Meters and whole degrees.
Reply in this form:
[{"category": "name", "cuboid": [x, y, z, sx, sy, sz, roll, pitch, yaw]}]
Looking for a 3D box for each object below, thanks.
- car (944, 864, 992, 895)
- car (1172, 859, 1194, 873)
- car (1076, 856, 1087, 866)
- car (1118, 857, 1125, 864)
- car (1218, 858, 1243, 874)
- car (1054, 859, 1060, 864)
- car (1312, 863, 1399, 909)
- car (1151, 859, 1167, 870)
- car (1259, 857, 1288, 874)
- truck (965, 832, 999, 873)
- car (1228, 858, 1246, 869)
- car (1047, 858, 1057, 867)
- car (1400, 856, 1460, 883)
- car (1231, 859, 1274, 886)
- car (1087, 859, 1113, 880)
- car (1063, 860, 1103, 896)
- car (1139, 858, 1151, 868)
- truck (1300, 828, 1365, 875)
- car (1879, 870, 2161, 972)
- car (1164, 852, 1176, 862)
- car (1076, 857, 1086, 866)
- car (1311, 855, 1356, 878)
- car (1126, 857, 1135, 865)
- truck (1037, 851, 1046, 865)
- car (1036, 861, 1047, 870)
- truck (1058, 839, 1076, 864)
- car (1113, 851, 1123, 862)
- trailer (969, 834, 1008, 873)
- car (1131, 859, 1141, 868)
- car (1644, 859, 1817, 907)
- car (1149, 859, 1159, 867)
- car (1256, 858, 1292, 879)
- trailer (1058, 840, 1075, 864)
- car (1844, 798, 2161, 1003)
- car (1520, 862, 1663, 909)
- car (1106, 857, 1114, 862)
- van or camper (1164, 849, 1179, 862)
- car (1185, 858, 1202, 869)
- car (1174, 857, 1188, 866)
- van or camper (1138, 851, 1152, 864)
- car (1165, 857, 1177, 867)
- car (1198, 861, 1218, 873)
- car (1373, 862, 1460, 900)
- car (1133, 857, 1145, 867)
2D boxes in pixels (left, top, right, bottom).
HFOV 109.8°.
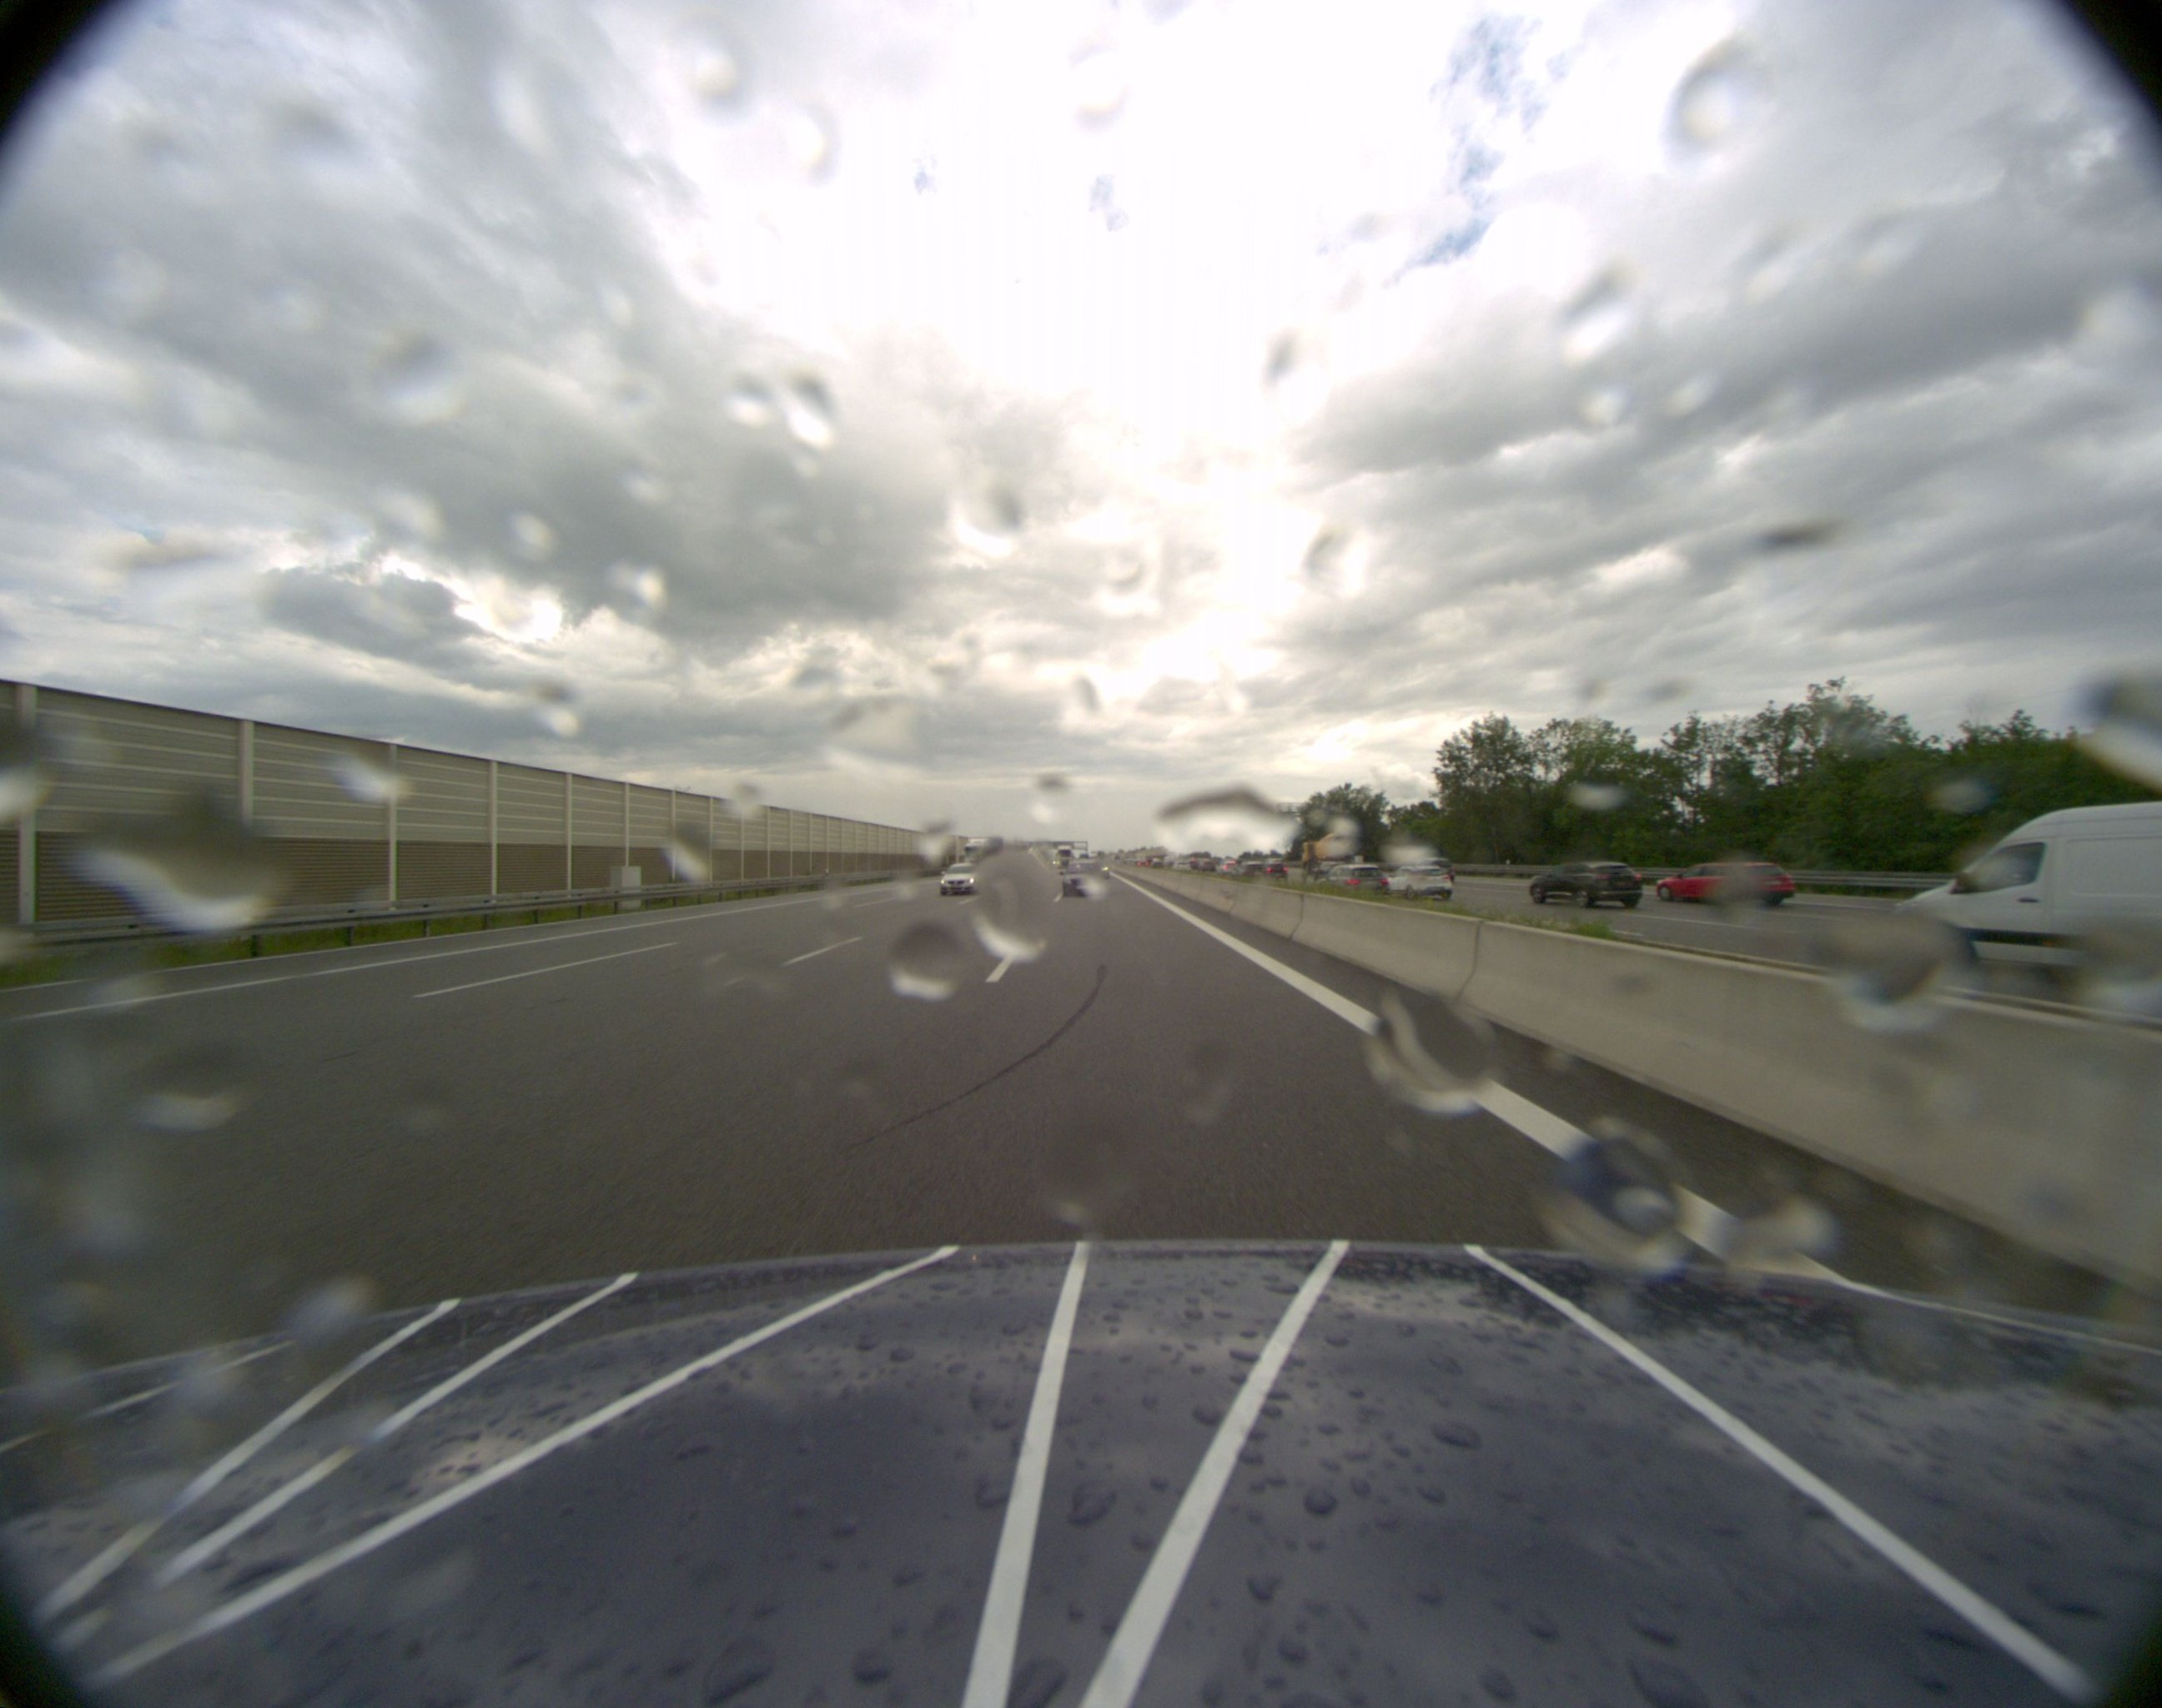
[{"category": "car", "cuboid": [-5.377, 1.186, 36.647, 1.732, 1.394, 4.000, -1, -1, -1]}, {"category": "car", "cuboid": [11.225, 1.326, 83.546, 1.727, 1.420, 4.649, -2, 0, 0]}, {"category": "car", "cuboid": [0.075, 1.074, 116.795, 1.498, 1.394, 3.999, -1, -1, -2]}, {"category": "car", "cuboid": [10.771, 1.783, 201.712, 1.727, 1.636, 4.519, -2, 0, 1]}, {"category": "car", "cuboid": [15.709, 1.249, 80.137, 1.727, 1.461, 4.849, -2, 0, 1]}, {"category": "car", "cuboid": [-6.852, 2.222, 219.506, 1.698, 1.394, 4.000, -1, -1, -1]}, {"category": "car", "cuboid": [11.134, 1.229, 31.185, 1.727, 1.593, 4.913, -2, 0, 0]}, {"category": "car", "cuboid": [11.353, 1.467, 111.104, 1.727, 1.420, 5.230, -2, 0, 1]}, {"category": "car", "cuboid": [19.323, 1.104, 76.443, 1.727, 1.593, 4.519, -2, 0, 1]}, {"category": "truck", "cuboid": [-10.290, -0.110, 79.728, 2.752, 4.010, 5.726, -1, -1, -1]}, {"category": "car", "cuboid": [23.338, 1.399, 114.053, 1.727, 1.420, 4.519, -2, 0, 1]}, {"category": "car", "cuboid": [-6.713, 2.026, 176.735, 1.998, 2.001, 4.001, -2, -1, 1]}, {"category": "car", "cuboid": [23.021, 0.999, 50.312, 1.727, 1.593, 4.913, -2, 0, 1]}, {"category": "car", "cuboid": [11.221, 1.199, 50.126, 1.727, 1.593, 4.913, -2, 0, 1]}, {"category": "car", "cuboid": [1.358, 1.119, 56.414, 1.776, 1.451, 4.480, -1, -1, 0]}, {"category": "car", "cuboid": [0.119, 0.986, 32.471, 1.578, 1.394, 4.001, -1, -1, 2]}, {"category": "car", "cuboid": [11.217, 1.549, 133.147, 1.727, 1.636, 4.993, -2, 0, 1]}, {"category": "truck", "cuboid": [23.261, -0.192, 70.928, 2.922, 3.991, 9.583, -1, 0, 0]}, {"category": "car", "cuboid": [18.161, 1.111, 13.895, 1.987, 1.485, 4.913, 0, 0, 1]}, {"category": "car", "cuboid": [18.608, 0.634, 159.873, 1.692, 1.925, 5.547, -2, 0, -1]}, {"category": "car", "cuboid": [-0.057, 1.729, 168.608, 1.999, 2.001, 4.000, -2, -1, -2]}, {"category": "car", "cuboid": [18.973, 0.926, 57.233, 1.727, 1.593, 4.913, -2, 0, 1]}, {"category": "car", "cuboid": [11.298, 1.560, 174.288, 1.727, 1.636, 5.062, -2, 0, 1]}, {"category": "truck", "cuboid": [-12.388, 1.290, 237.967, 2.600, 4.087, 11.370, -1, -1, -3]}, {"category": "car", "cuboid": [-6.856, 2.010, 132.341, 1.698, 1.394, 4.000, -1, -1, -1]}, {"category": "truck", "cuboid": [-2.527, -0.399, 134.287, 2.913, 4.145, 5.193, -2, -1, -1]}, {"category": "car", "cuboid": [10.453, 0.702, 214.679, 2.237, 2.733, 9.165, -1, -2, 0]}, {"category": "trailer", "cuboid": [-10.369, 0.032, 86.754, 2.768, 4.007, 14.453, -1, -1, -1]}, {"category": "car", "cuboid": [11.593, 2.025, 161.478, 1.727, 1.636, 5.062, -2, 0, 1]}, {"category": "car", "cuboid": [22.741, 0.956, 26.939, 1.987, 1.485, 4.913, 0, 0, 1]}, {"category": "car", "cuboid": [15.877, 1.871, 166.433, 1.727, 1.636, 4.519, -2, 0, 1]}, {"category": "car", "cuboid": [15.595, 1.148, 61.744, 1.727, 1.593, 4.644, -2, 0, 1]}, {"category": "trailer", "cuboid": [-2.735, -0.240, 140.819, 2.926, 4.187, 13.196, -2, -1, -2]}, {"category": "car", "cuboid": [14.912, 0.589, 9.991, 2.053, 2.637, 7.735, 0, 0, 1]}, {"category": "car", "cuboid": [18.426, 1.080, 27.783, 1.987, 1.485, 4.913, 0, 0, 1]}, {"category": "car", "cuboid": [8.905, 1.641, 233.549, 2.066, 1.525, 5.469, -1, 0, -1]}, {"category": "van or camper", "cuboid": [22.332, 0.372, 187.802, 2.632, 3.104, 8.476, -2, 0, -1]}, {"category": "car", "cuboid": [16.279, 1.313, 110.149, 1.727, 1.420, 4.519, -2, 0, 1]}, {"category": "car", "cuboid": [16.288, 1.239, 123.883, 1.727, 1.410, 4.201, 0, 0, 1]}, {"category": "van or camper", "cuboid": [15.818, 0.805, 188.403, 2.632, 2.934, 7.358, -2, 0, -1]}, {"category": "car", "cuboid": [15.971, 1.402, 134.944, 1.727, 1.636, 4.519, -2, 0, 1]}, {"category": "car", "cuboid": [15.815, 1.618, 94.877, 1.727, 1.420, 4.519, -2, 0, 1]}, {"category": "car", "cuboid": [15.153, 1.181, 34.653, 1.727, 1.485, 4.913, -2, 0, 0]}, {"category": "car", "cuboid": [11.028, 1.503, 144.776, 1.727, 1.636, 4.997, -2, 0, 1]}]
